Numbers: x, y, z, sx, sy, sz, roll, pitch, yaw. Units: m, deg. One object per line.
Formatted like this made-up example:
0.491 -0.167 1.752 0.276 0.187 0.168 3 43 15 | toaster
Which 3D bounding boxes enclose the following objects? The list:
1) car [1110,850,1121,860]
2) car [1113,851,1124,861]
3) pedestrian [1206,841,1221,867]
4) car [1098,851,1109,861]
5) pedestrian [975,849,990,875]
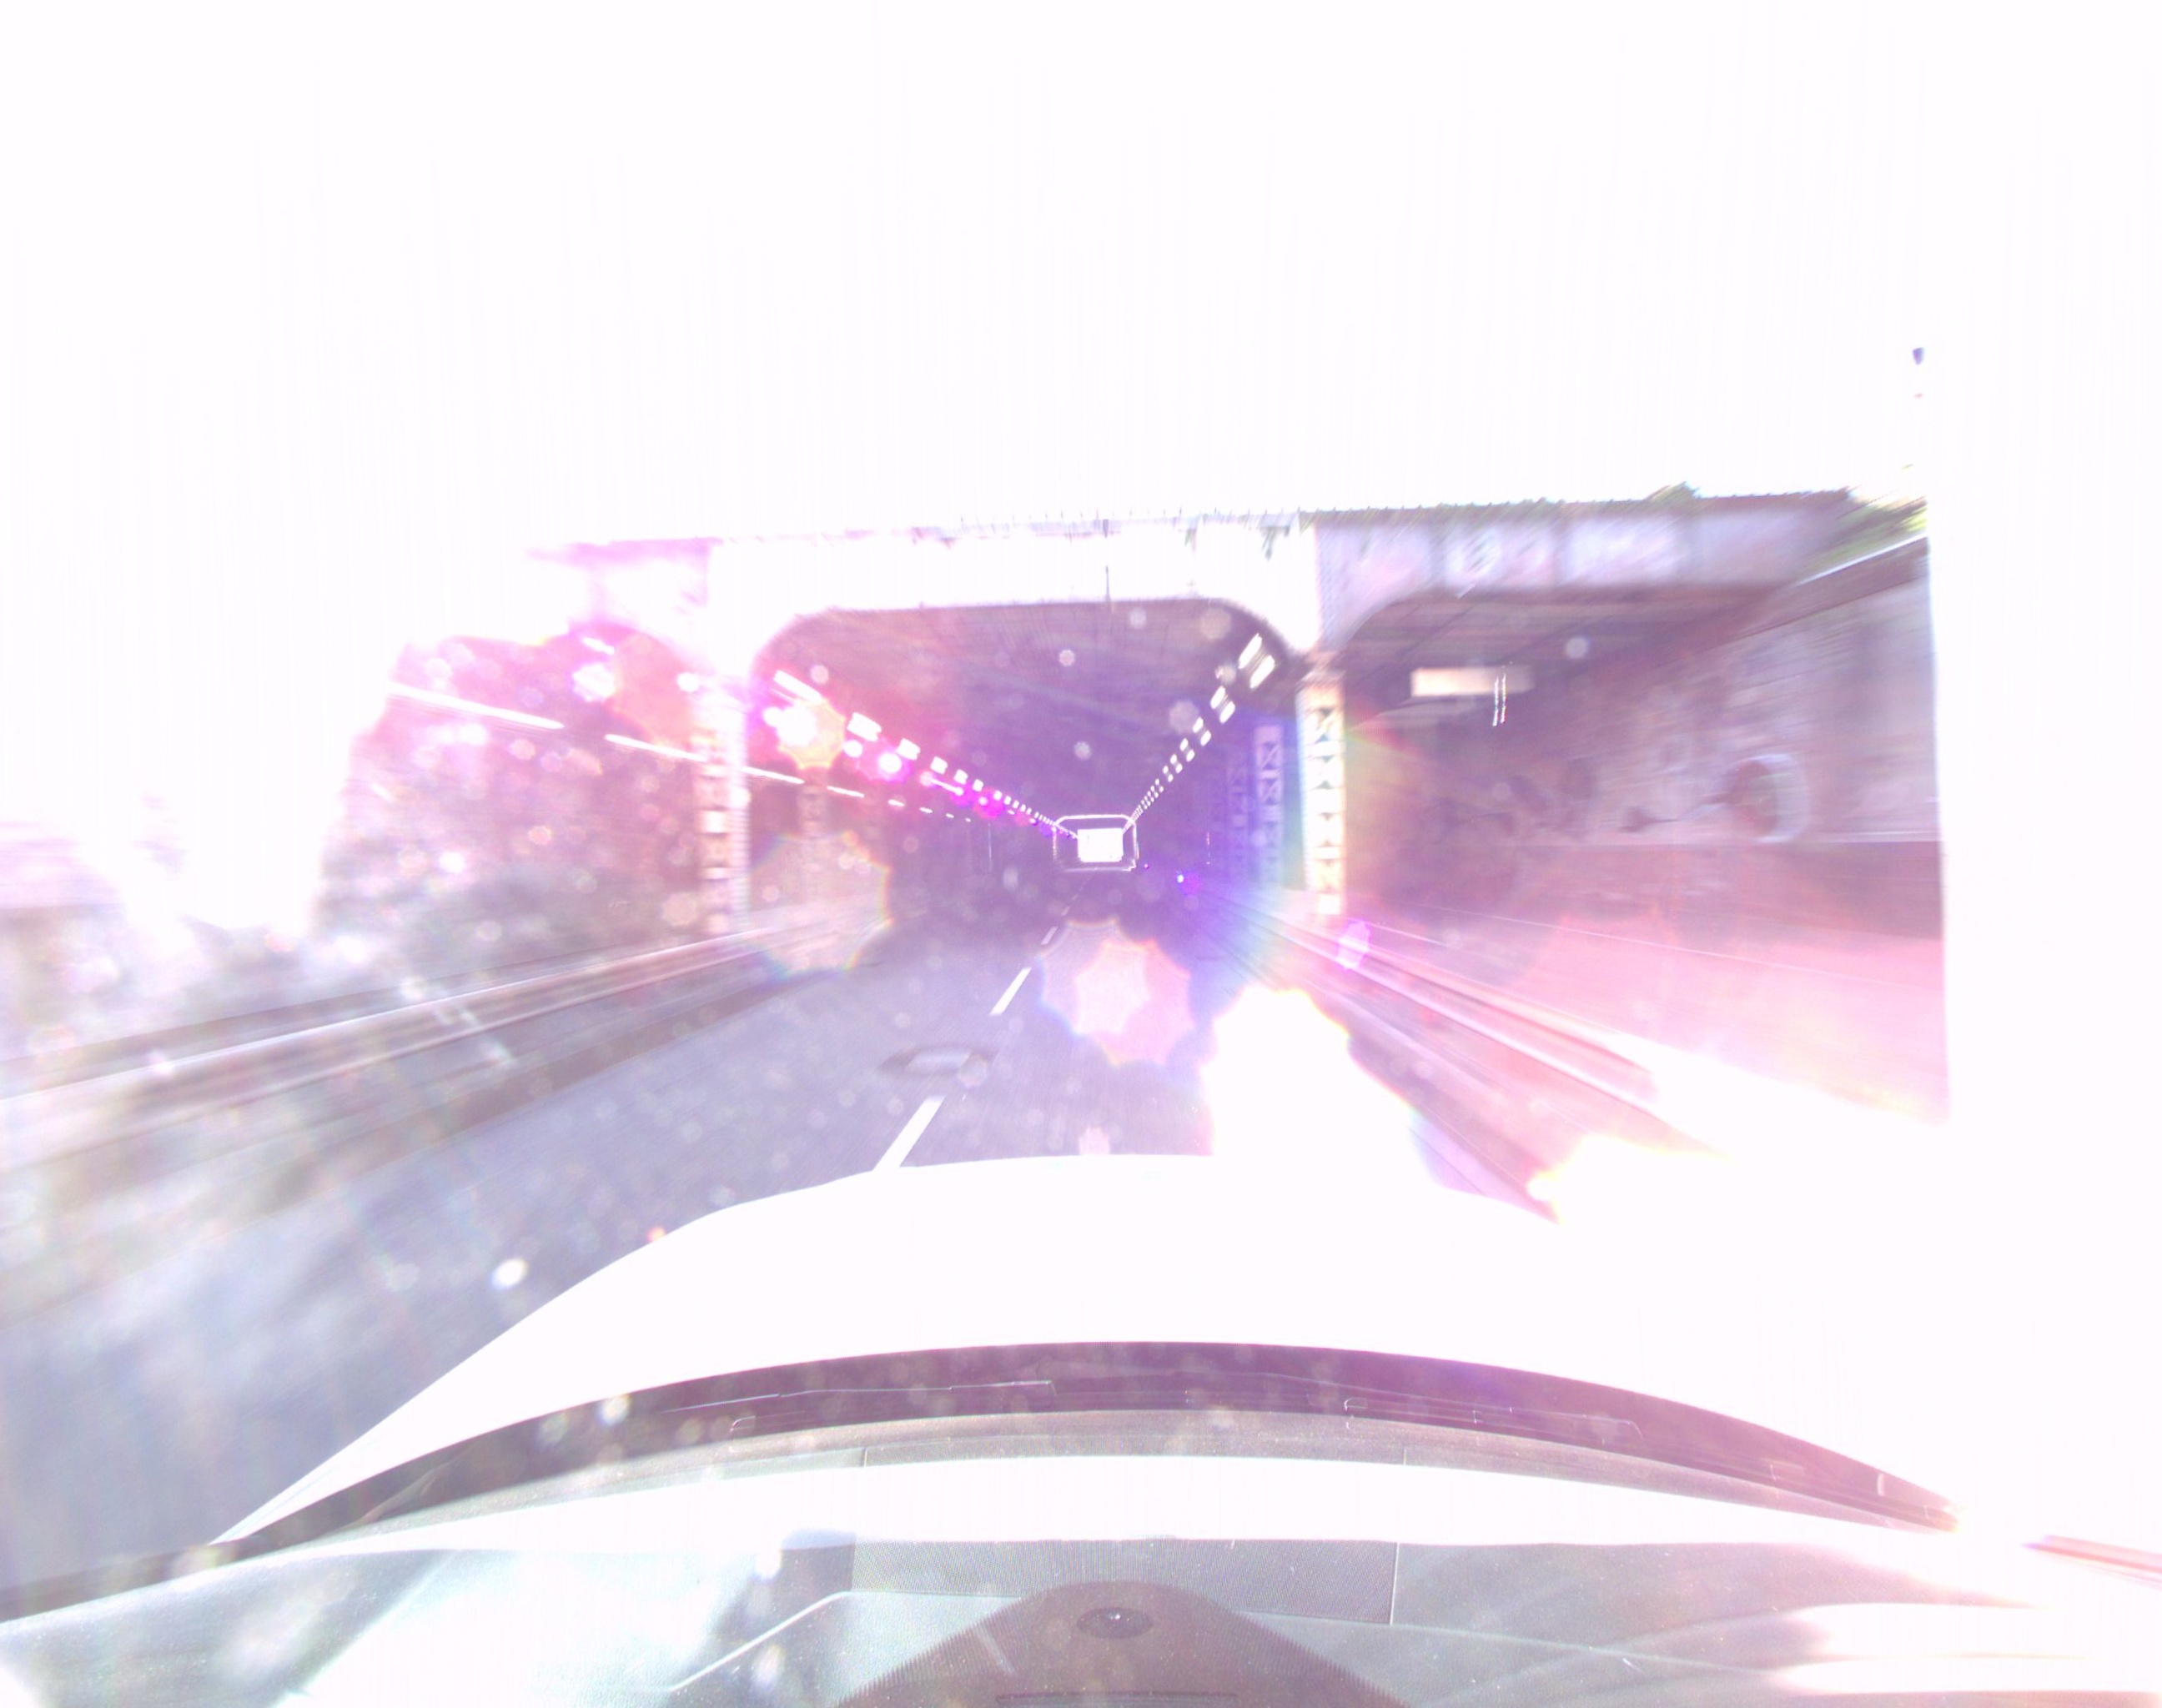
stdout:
6.746 0.229 157.979 1.986 1.784 4.002 -2 0 2 | car
6.794 0.305 148.539 1.986 1.784 4.002 -2 0 2 | car
8.901 -0.013 54.719 0.797 1.701 1.111 -3 0 1 | pedestrian
4.544 0.420 164.623 1.986 1.784 4.002 -2 0 2 | car
-7.907 0.680 65.327 0.955 2.055 1.356 -1 -2 2 | pedestrian
